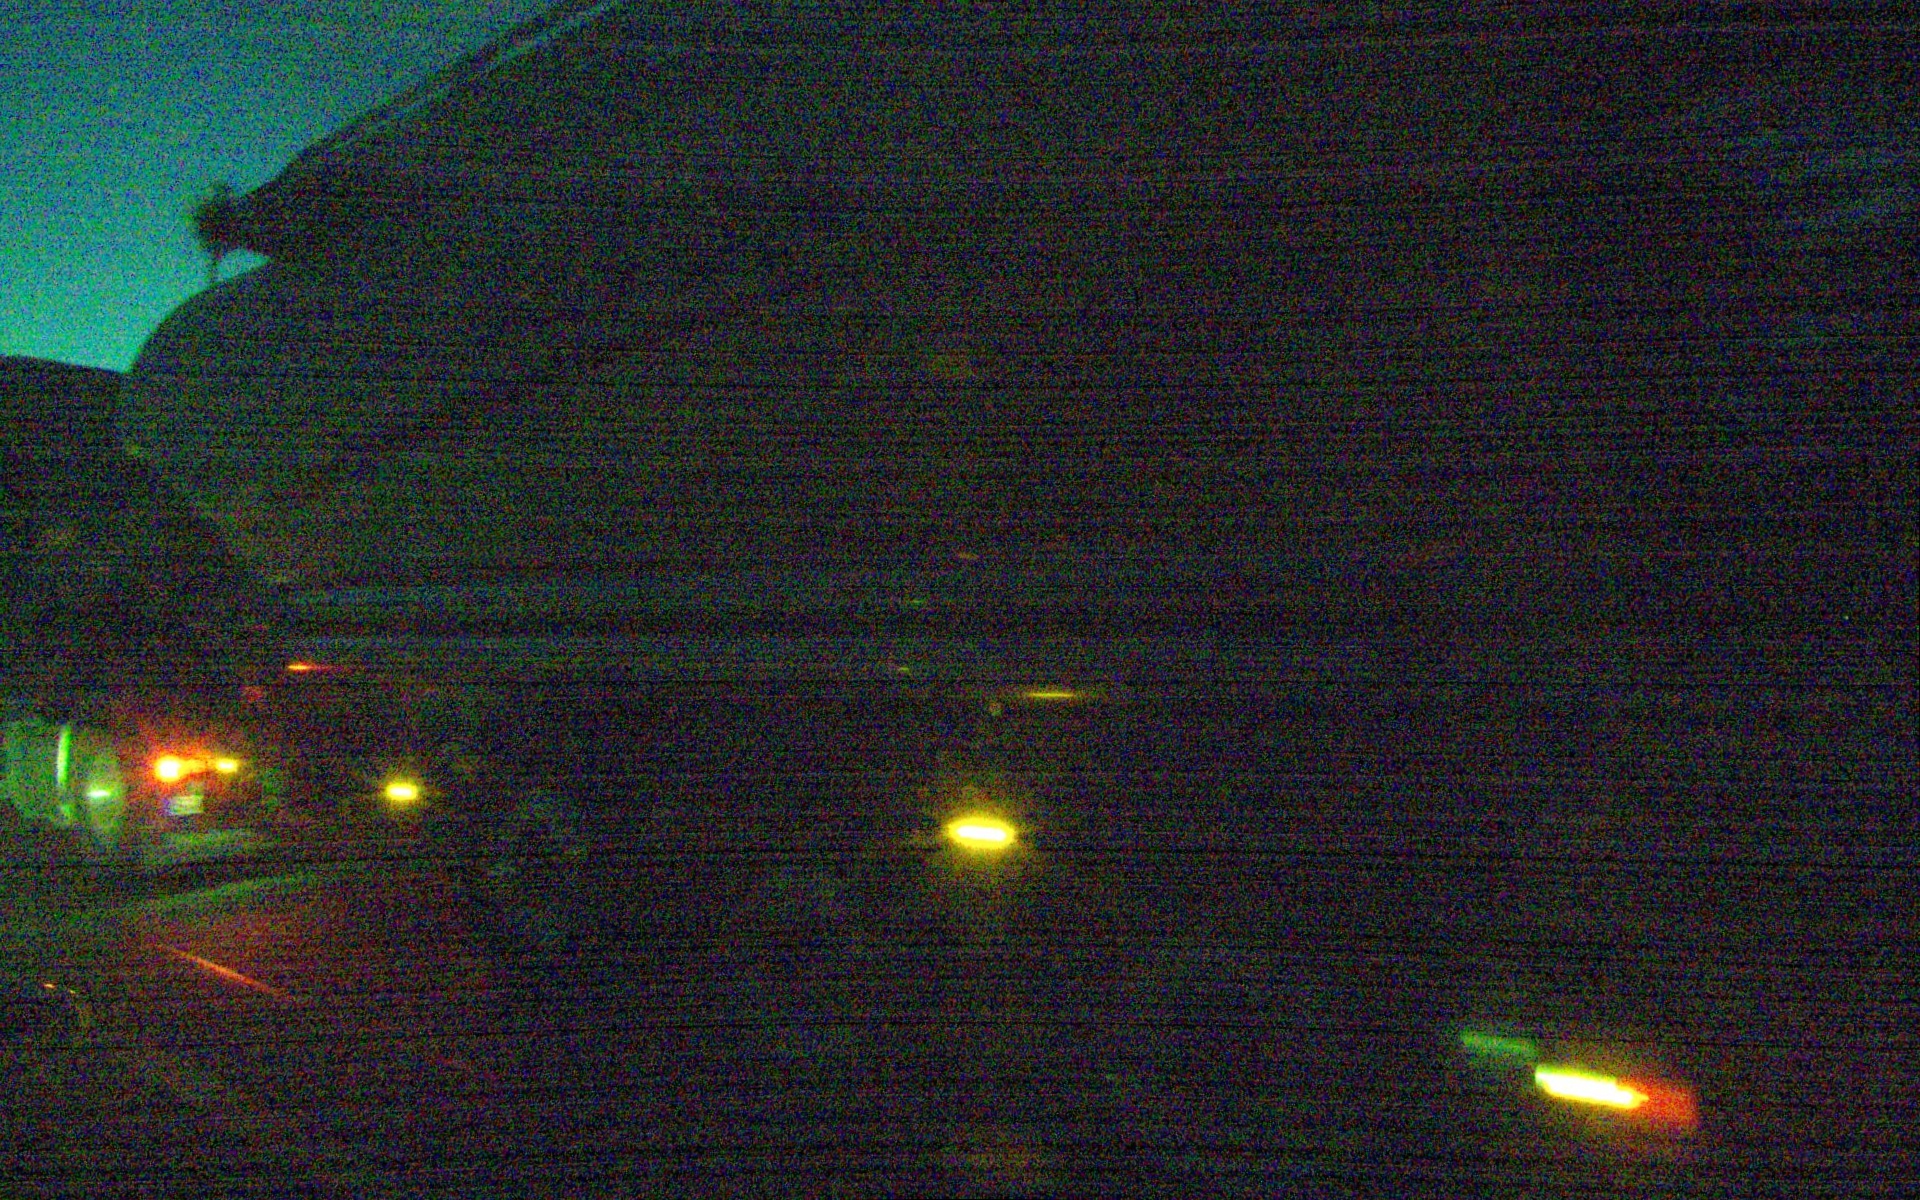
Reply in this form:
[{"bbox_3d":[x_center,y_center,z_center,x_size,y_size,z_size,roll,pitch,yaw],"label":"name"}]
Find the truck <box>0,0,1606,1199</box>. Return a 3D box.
[{"bbox_3d":[-3.613,-0.434,6.382,12.960,4.159,2.681,-1,-2,34],"label":"truck"}]
